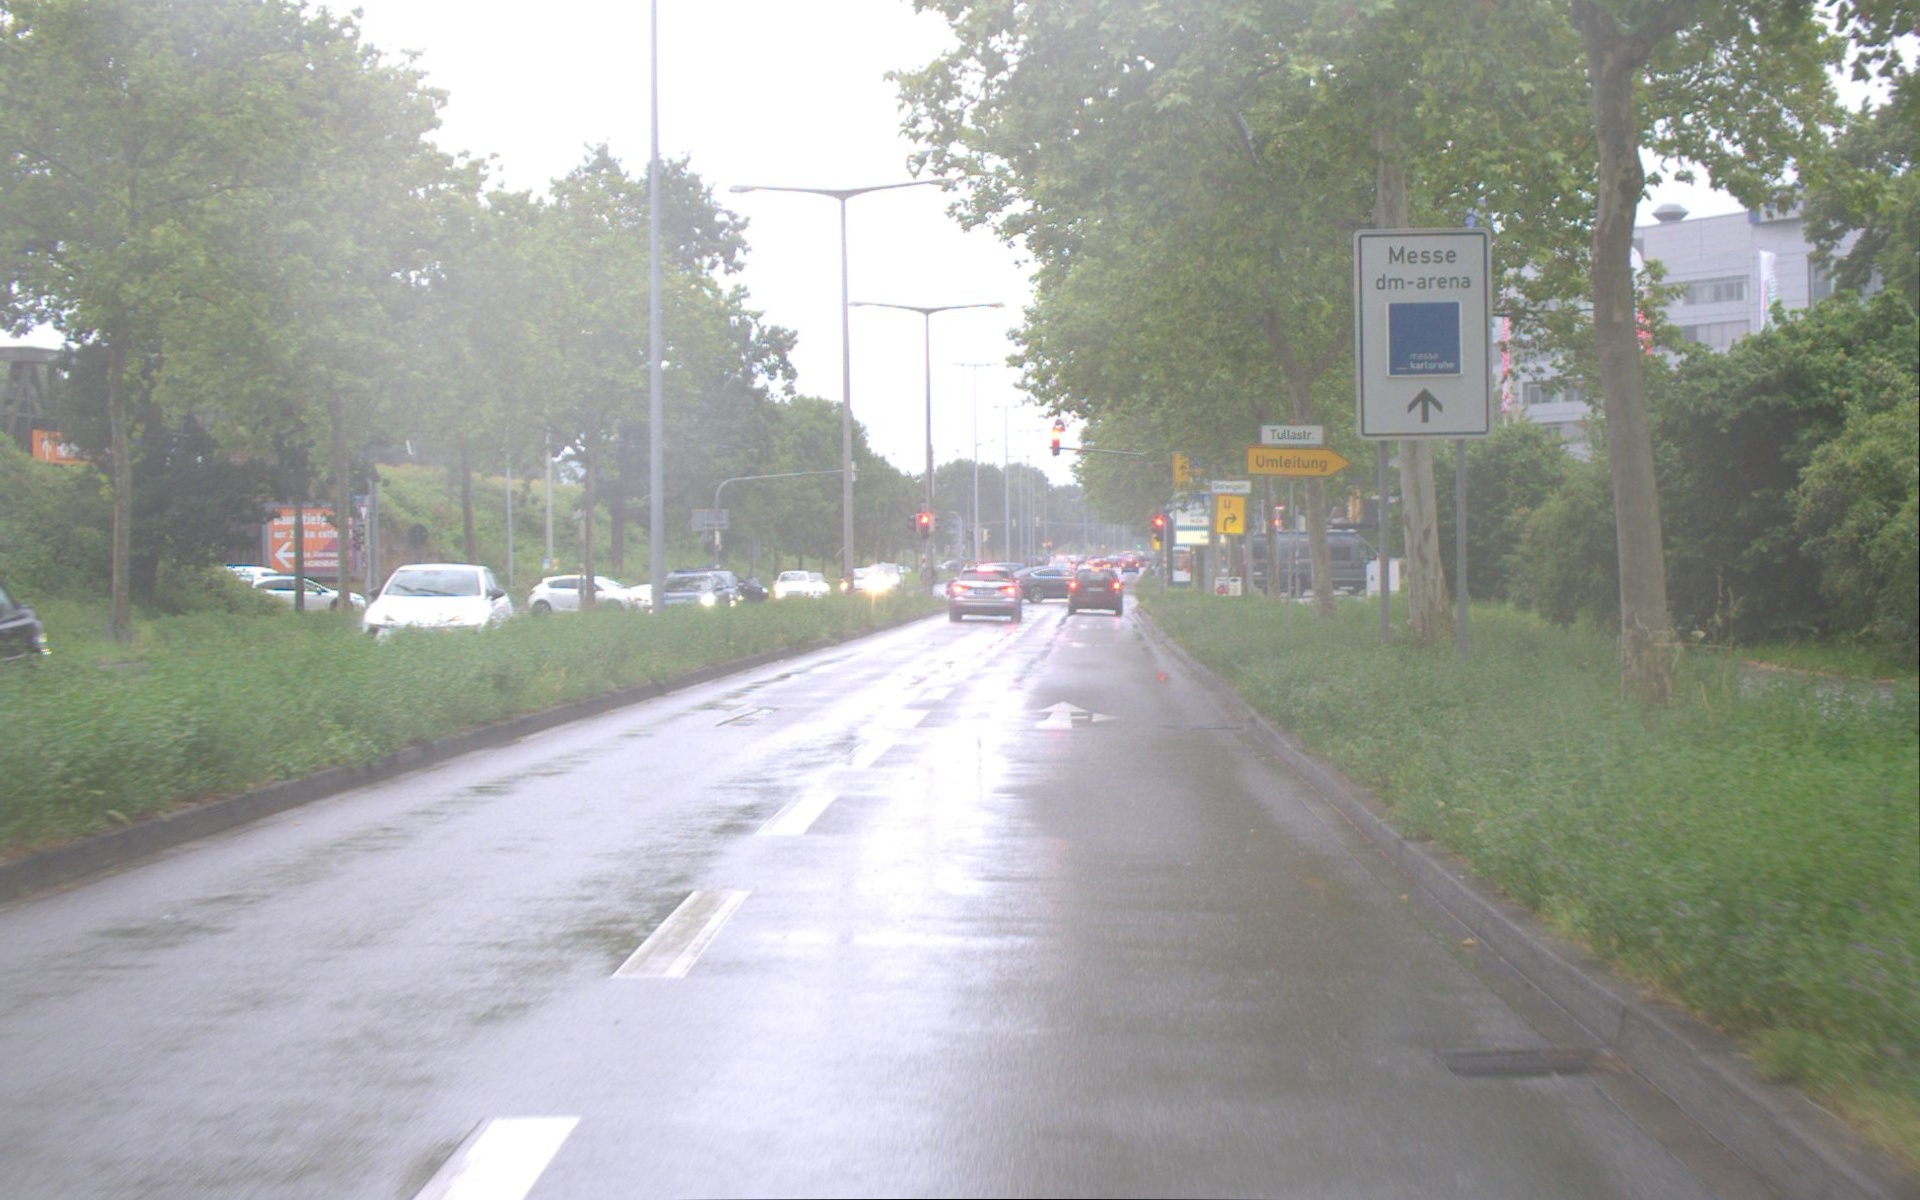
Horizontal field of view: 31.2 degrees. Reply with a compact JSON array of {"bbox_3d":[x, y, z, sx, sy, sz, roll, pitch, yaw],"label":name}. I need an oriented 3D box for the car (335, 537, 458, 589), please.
[{"bbox_3d":[-20.658,-1.345,126.040,3.986,1.839,2.000,1,0,-27],"label":"car"}]

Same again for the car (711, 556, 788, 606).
[{"bbox_3d":[-6.203,-0.588,101.650,1.931,1.440,3.707,0,1,2],"label":"car"}]

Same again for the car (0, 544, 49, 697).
[{"bbox_3d":[-9.790,0.200,31.696,1.631,1.421,4.000,0,1,1],"label":"car"}]

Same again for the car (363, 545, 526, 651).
[{"bbox_3d":[-7.661,-0.058,51.429,1.702,1.489,4.204,0,1,1],"label":"car"}]

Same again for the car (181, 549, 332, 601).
[{"bbox_3d":[-22.824,-0.813,111.529,4.503,1.583,1.863,-1,1,-23],"label":"car"}]

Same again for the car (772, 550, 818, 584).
[{"bbox_3d":[-7.508,-1.501,156.756,1.712,1.525,4.000,-1,1,3],"label":"car"}]

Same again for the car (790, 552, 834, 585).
[{"bbox_3d":[-7.027,-1.500,163.277,1.712,1.525,4.000,-1,1,3],"label":"car"}]

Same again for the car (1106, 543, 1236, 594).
[{"bbox_3d":[7.373,-1.110,119.818,4.374,1.531,1.802,-4,3,-37],"label":"car"}]

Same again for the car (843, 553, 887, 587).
[{"bbox_3d":[-4.344,-1.374,157.755,1.712,1.525,4.000,-1,1,3],"label":"car"}]

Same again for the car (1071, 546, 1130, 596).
[{"bbox_3d":[4.488,-0.920,109.220,1.796,1.532,4.387,1,1,3],"label":"car"}]

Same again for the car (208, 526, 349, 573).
[{"bbox_3d":[-23.074,-1.712,116.404,4.372,1.532,1.802,-1,0,-26],"label":"car"}]

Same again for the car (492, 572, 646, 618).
[{"bbox_3d":[-12.732,-0.182,112.004,4.648,1.440,1.935,0,1,24],"label":"car"}]

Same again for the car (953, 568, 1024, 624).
[{"bbox_3d":[0.775,-0.128,90.721,1.690,1.428,4.574,0,1,3],"label":"car"}]
